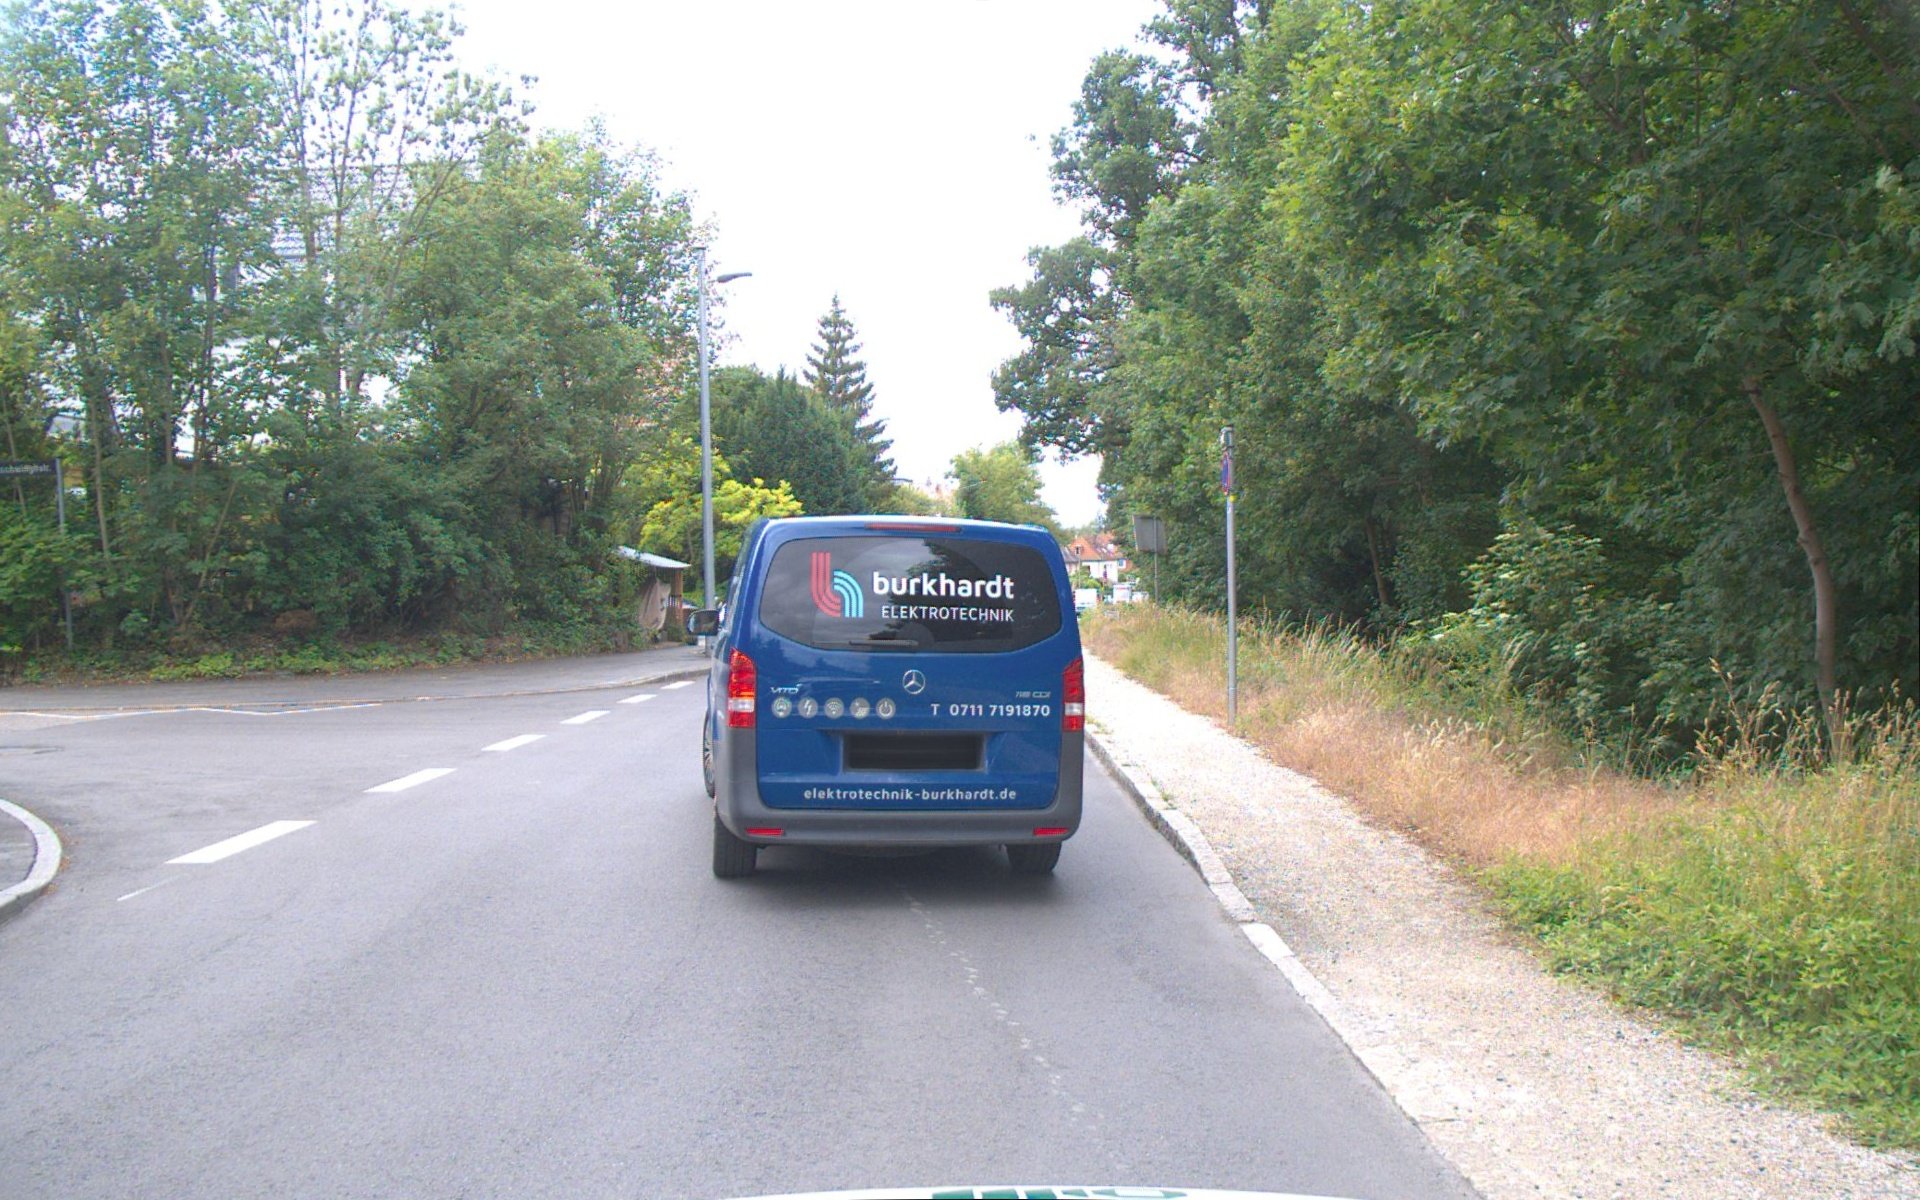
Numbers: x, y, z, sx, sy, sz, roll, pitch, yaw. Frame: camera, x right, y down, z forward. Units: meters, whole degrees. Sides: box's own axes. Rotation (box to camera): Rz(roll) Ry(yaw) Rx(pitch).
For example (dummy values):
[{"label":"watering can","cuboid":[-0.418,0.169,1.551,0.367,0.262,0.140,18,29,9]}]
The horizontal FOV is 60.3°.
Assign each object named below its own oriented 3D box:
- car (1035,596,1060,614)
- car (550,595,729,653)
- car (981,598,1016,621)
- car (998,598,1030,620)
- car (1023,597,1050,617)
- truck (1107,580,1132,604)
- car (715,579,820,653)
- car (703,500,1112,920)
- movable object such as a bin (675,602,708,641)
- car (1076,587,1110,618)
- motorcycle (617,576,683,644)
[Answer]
[{"label":"car","cuboid":[6.985,0.385,131.988,1.712,1.429,4.003,1,0,7]},{"label":"car","cuboid":[-8.663,0.631,44.913,4.386,1.466,1.880,1,0,5]},{"label":"car","cuboid":[2.438,0.587,103.774,1.712,1.429,4.003,1,0,7]},{"label":"car","cuboid":[3.605,0.564,109.877,1.712,1.429,4.003,1,0,7]},{"label":"car","cuboid":[5.686,0.490,122.696,1.712,1.429,4.003,1,0,7]},{"label":"truck","cuboid":[19.312,-0.981,200.500,2.704,2.842,9.276,0,1,7]},{"label":"car","cuboid":[-4.086,0.317,35.689,1.670,1.493,4.076,1,0,2]},{"label":"car","cuboid":[-0.539,0.471,9.928,1.900,1.913,4.522,0,1,-8]},{"label":"movable object such as a bin","cuboid":[-6.512,0.518,40.121,0.578,0.925,0.701,1,0,8]},{"label":"car","cuboid":[9.380,0.147,116.225,2.159,2.099,6.139,0,1,7]},{"label":"motorcycle","cuboid":[-7.092,0.216,38.009,0.793,1.511,2.897,1,0,4]}]
